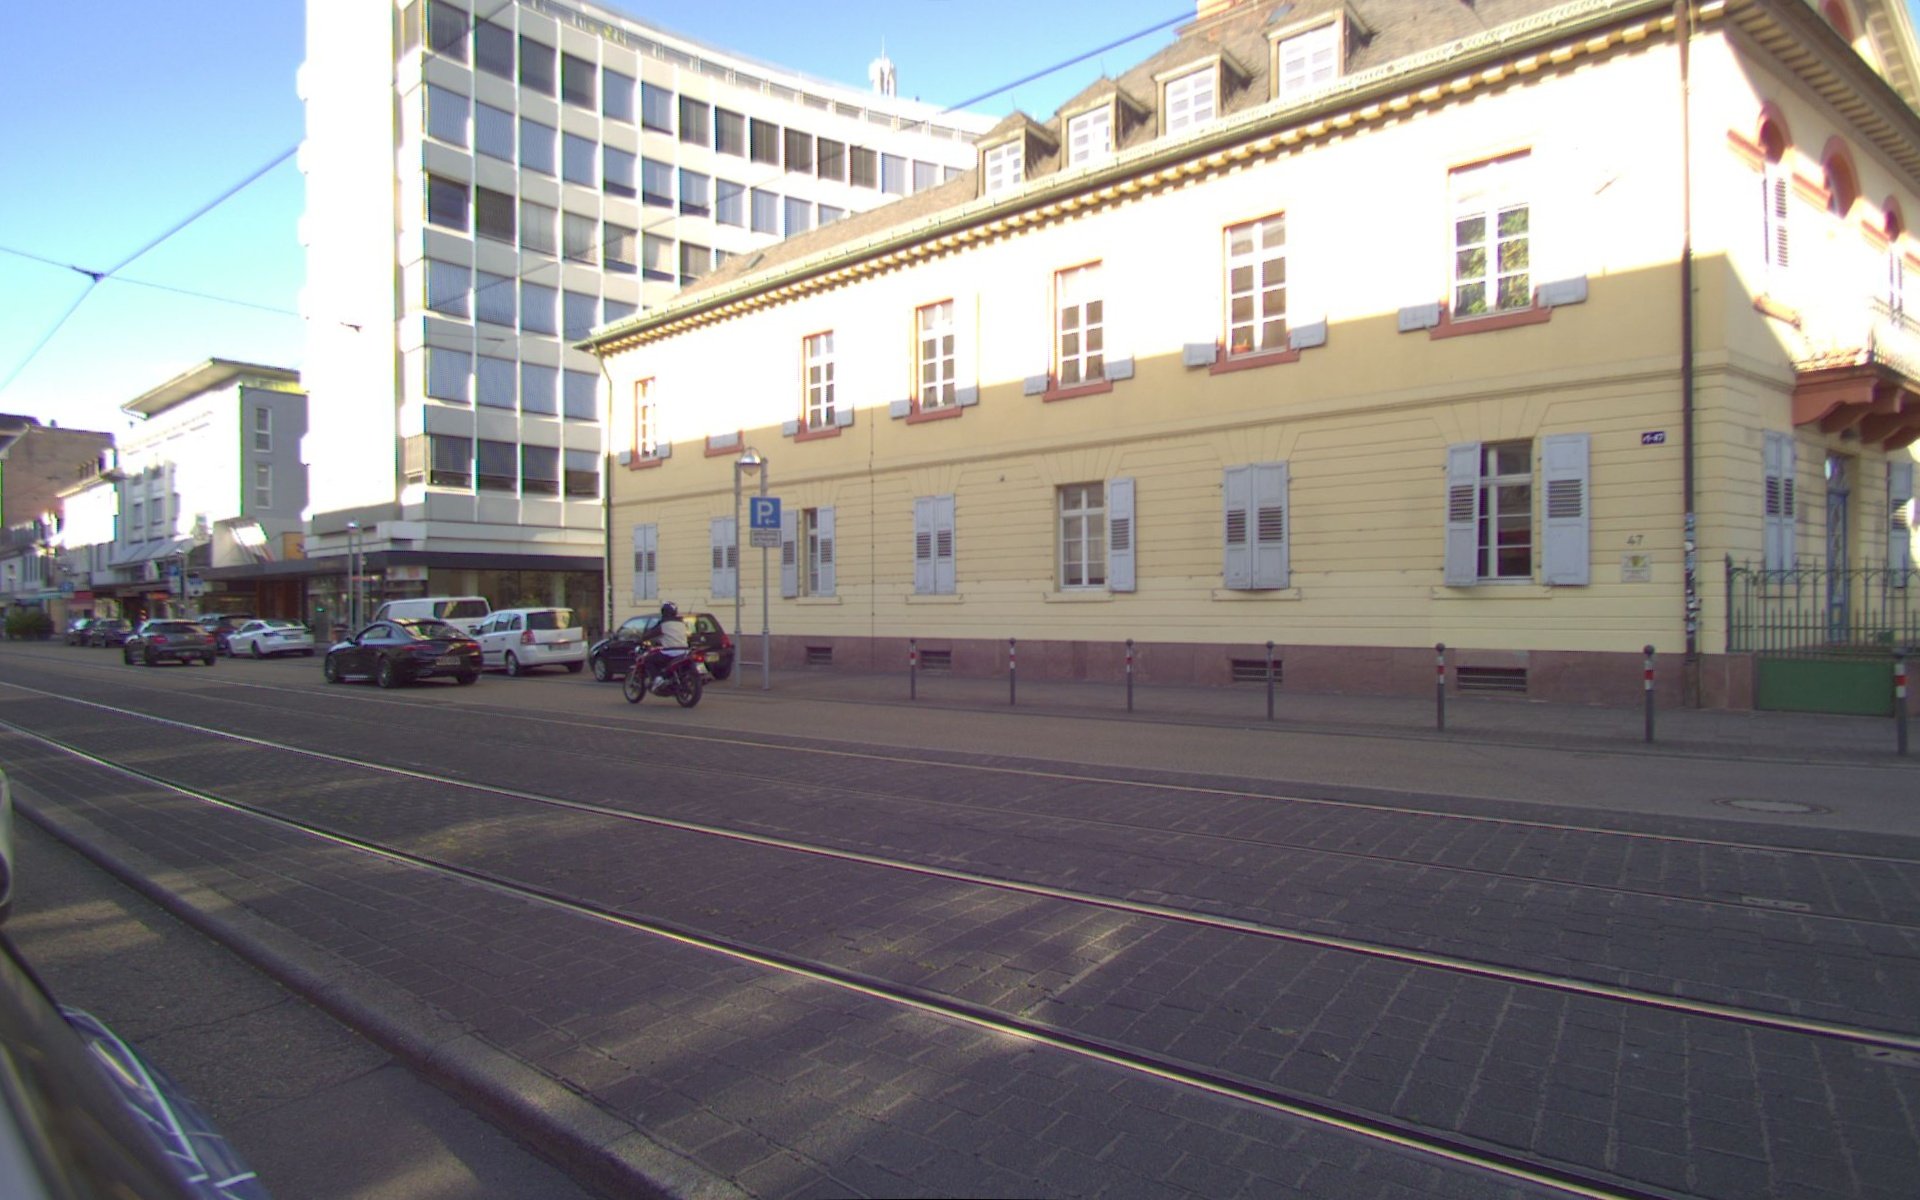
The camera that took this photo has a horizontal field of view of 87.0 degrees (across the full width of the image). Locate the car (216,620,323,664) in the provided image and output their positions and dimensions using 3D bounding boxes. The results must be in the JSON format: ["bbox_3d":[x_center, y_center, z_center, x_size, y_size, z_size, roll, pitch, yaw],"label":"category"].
[{"bbox_3d":[-25.628,1.527,37.524,4.285,1.463,1.909,-1,1,36],"label":"car"}]

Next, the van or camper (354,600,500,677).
[{"bbox_3d":[-15.356,1.034,29.038,4.792,1.988,1.936,-1,1,39],"label":"van or camper"}]

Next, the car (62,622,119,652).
[{"bbox_3d":[-47.946,2.014,55.784,3.830,1.531,1.764,-1,0,40],"label":"car"}]

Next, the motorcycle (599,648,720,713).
[{"bbox_3d":[-4.838,1.259,16.224,2.149,0.933,0.594,-1,0,33],"label":"motorcycle"}]

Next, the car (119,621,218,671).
[{"bbox_3d":[-25.302,1.440,32.315,3.858,1.521,1.758,-2,-2,41],"label":"car"}]

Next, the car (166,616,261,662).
[{"bbox_3d":[-30.052,1.526,40.709,4.275,1.654,1.908,-1,1,37],"label":"car"}]

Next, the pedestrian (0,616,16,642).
[{"bbox_3d":[-68.828,2.078,72.878,1.028,1.835,1.001,-1,0,27],"label":"pedestrian"}]

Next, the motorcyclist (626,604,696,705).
[{"bbox_3d":[-4.780,0.849,16.190,0.881,1.570,0.647,-1,0,32],"label":"motorcyclist"}]

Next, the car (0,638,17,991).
[{"bbox_3d":[-6.353,0.892,5.046,4.771,1.450,1.845,-1,-2,40],"label":"car"}]

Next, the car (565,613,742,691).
[{"bbox_3d":[-6.632,1.049,21.718,3.958,1.450,1.759,-1,1,40],"label":"car"}]

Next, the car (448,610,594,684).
[{"bbox_3d":[-11.075,1.114,25.411,4.175,1.632,1.758,-1,1,42],"label":"car"}]

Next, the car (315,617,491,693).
[{"bbox_3d":[-12.325,1.158,22.270,4.664,1.521,1.759,-1,-2,39],"label":"car"}]

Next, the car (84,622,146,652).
[{"bbox_3d":[-43.651,1.890,52.248,3.593,1.427,1.764,-1,0,38],"label":"car"}]
